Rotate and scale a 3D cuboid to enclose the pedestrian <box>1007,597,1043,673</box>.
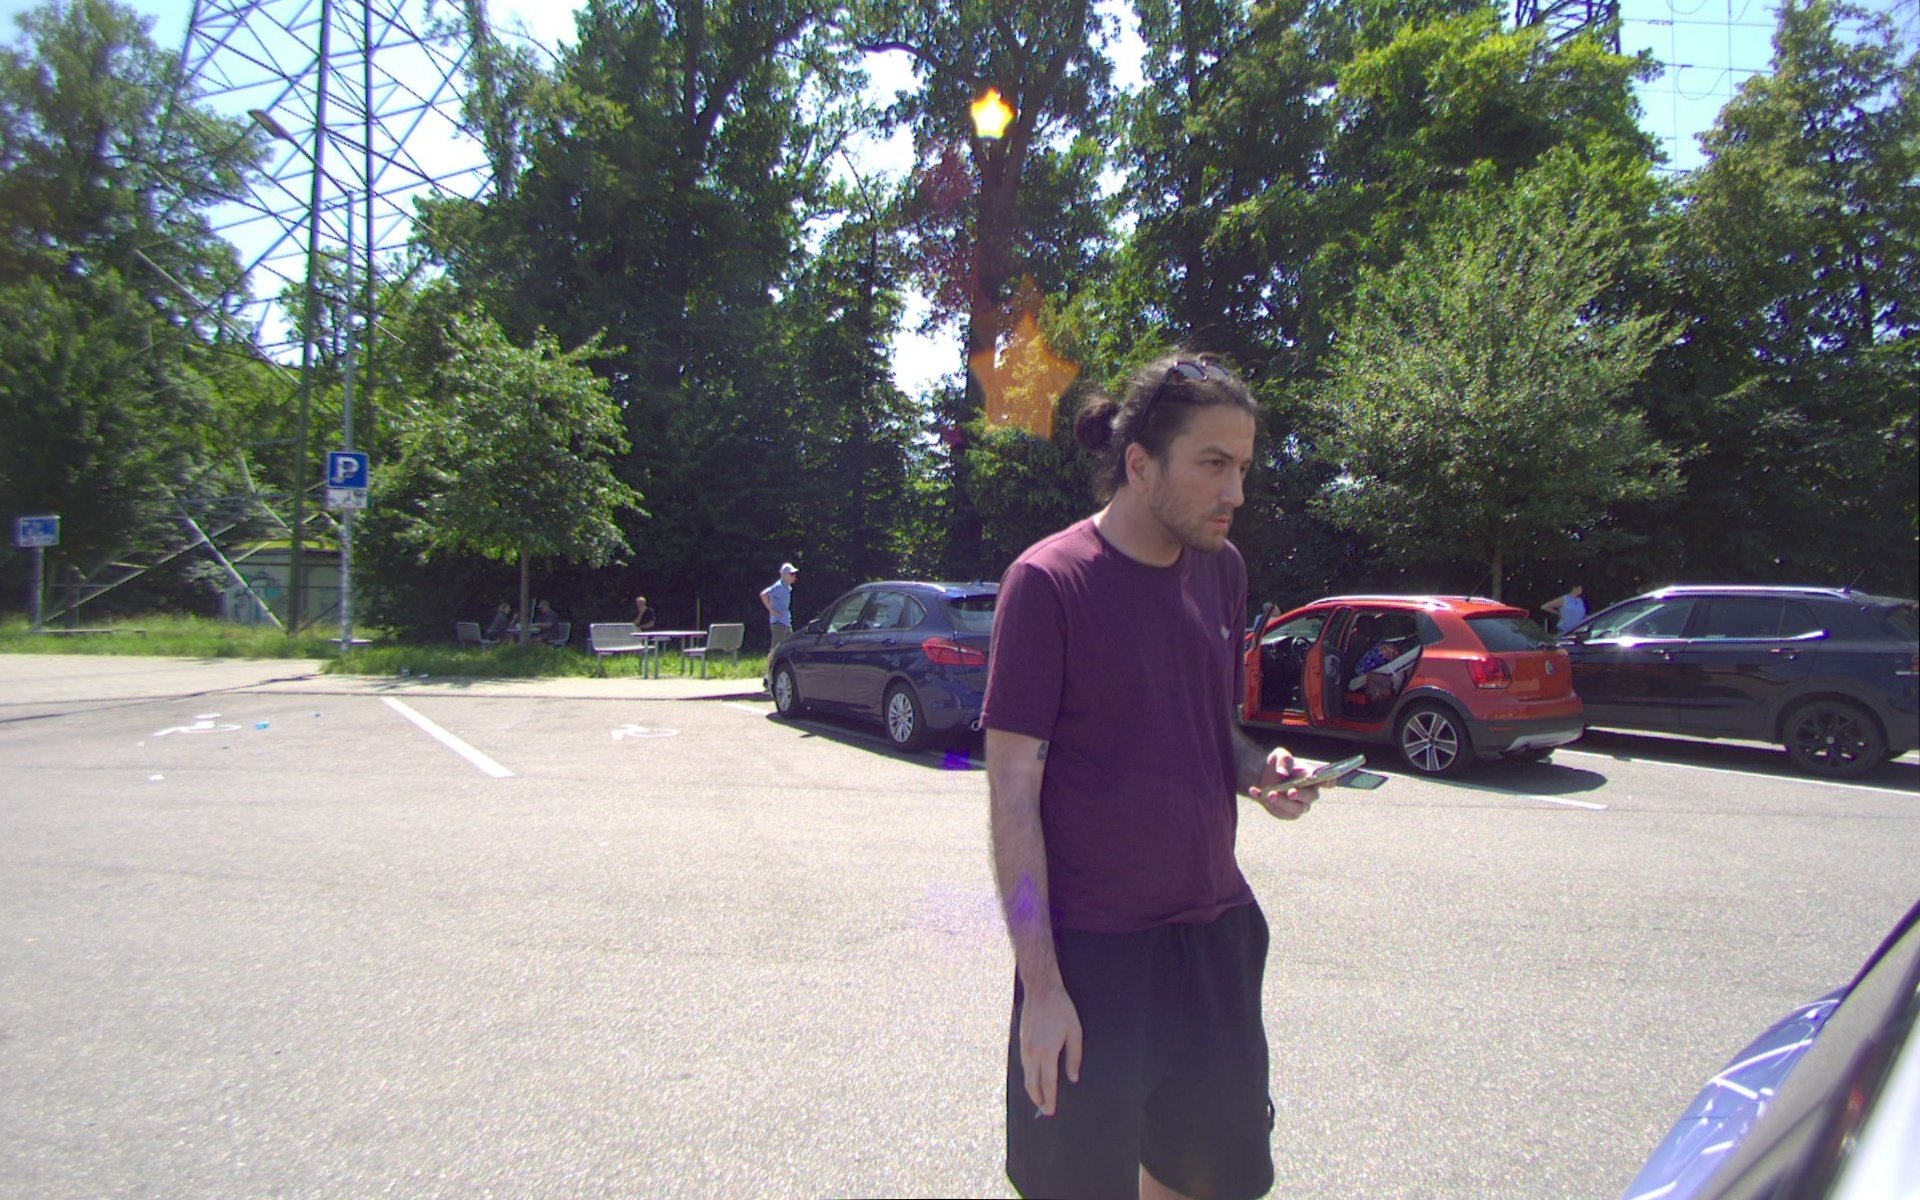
[{"bbox_3d":[1.093,0.583,17.077,0.576,1.251,0.697,0,-1,1],"label":"pedestrian"}]

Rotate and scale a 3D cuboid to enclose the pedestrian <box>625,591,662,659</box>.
[{"bbox_3d":[-6.664,0.519,21.313,0.553,1.408,0.700,0,0,2],"label":"pedestrian"}]

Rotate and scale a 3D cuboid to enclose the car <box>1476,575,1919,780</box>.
[{"bbox_3d":[7.244,0.593,9.703,1.707,1.607,3.732,1,0,-39],"label":"car"}]

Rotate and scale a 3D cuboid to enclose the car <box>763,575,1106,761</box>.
[{"bbox_3d":[-0.459,0.555,10.661,1.776,1.562,3.940,1,0,-34],"label":"car"}]

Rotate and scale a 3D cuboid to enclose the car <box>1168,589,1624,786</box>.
[{"bbox_3d":[3.879,0.642,9.588,1.559,1.467,3.737,1,0,-33],"label":"car"}]

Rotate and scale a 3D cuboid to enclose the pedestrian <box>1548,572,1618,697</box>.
[{"bbox_3d":[9.404,0.505,15.298,0.754,1.854,0.519,0,0,12],"label":"pedestrian"}]

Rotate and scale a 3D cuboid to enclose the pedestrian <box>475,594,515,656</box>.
[{"bbox_3d":[-10.493,0.554,22.836,0.687,1.352,0.563,0,0,-40],"label":"pedestrian"}]

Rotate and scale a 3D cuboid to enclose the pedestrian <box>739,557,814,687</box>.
[{"bbox_3d":[-2.563,0.298,14.159,0.669,1.754,0.826,0,0,26],"label":"pedestrian"}]

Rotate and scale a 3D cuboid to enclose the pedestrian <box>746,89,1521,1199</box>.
[{"bbox_3d":[0.252,0.424,1.593,0.846,1.857,0.863,0,0,-40],"label":"pedestrian"}]

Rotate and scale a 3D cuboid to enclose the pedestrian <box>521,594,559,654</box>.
[{"bbox_3d":[-9.735,0.544,23.474,0.687,1.352,0.563,0,0,-40],"label":"pedestrian"}]

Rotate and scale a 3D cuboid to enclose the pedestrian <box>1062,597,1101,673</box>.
[{"bbox_3d":[2.041,0.579,17.011,0.576,1.251,0.697,0,-1,1],"label":"pedestrian"}]
